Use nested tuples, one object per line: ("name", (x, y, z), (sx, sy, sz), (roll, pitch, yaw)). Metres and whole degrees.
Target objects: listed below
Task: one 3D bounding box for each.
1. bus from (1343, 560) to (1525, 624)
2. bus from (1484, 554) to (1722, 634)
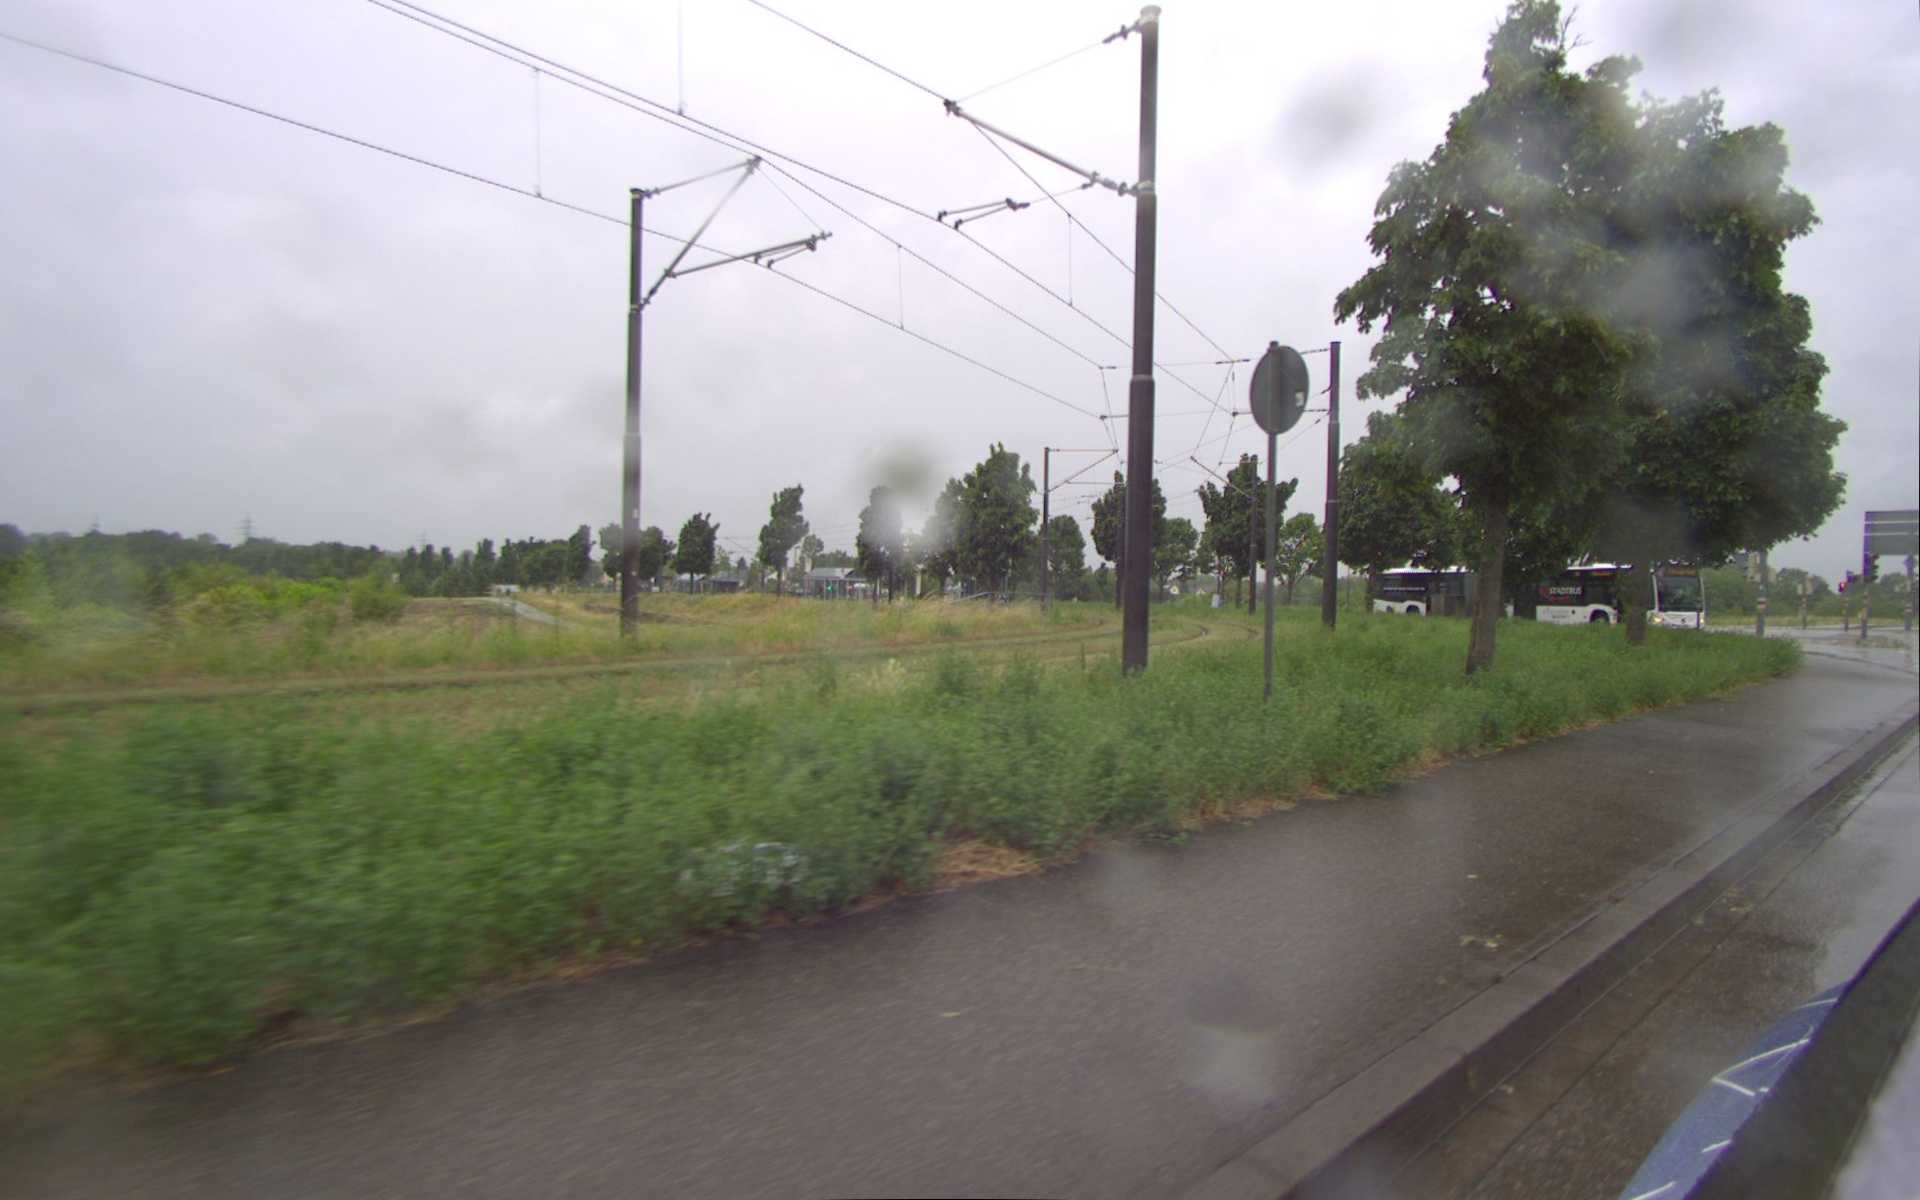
("bus", (25.235, -0.452, 54.729), (2.622, 3.116, 10.016), (0, 1, -19))
("bus", (28.007, -0.303, 44.947), (2.622, 3.116, 10.014), (0, 1, -12))
